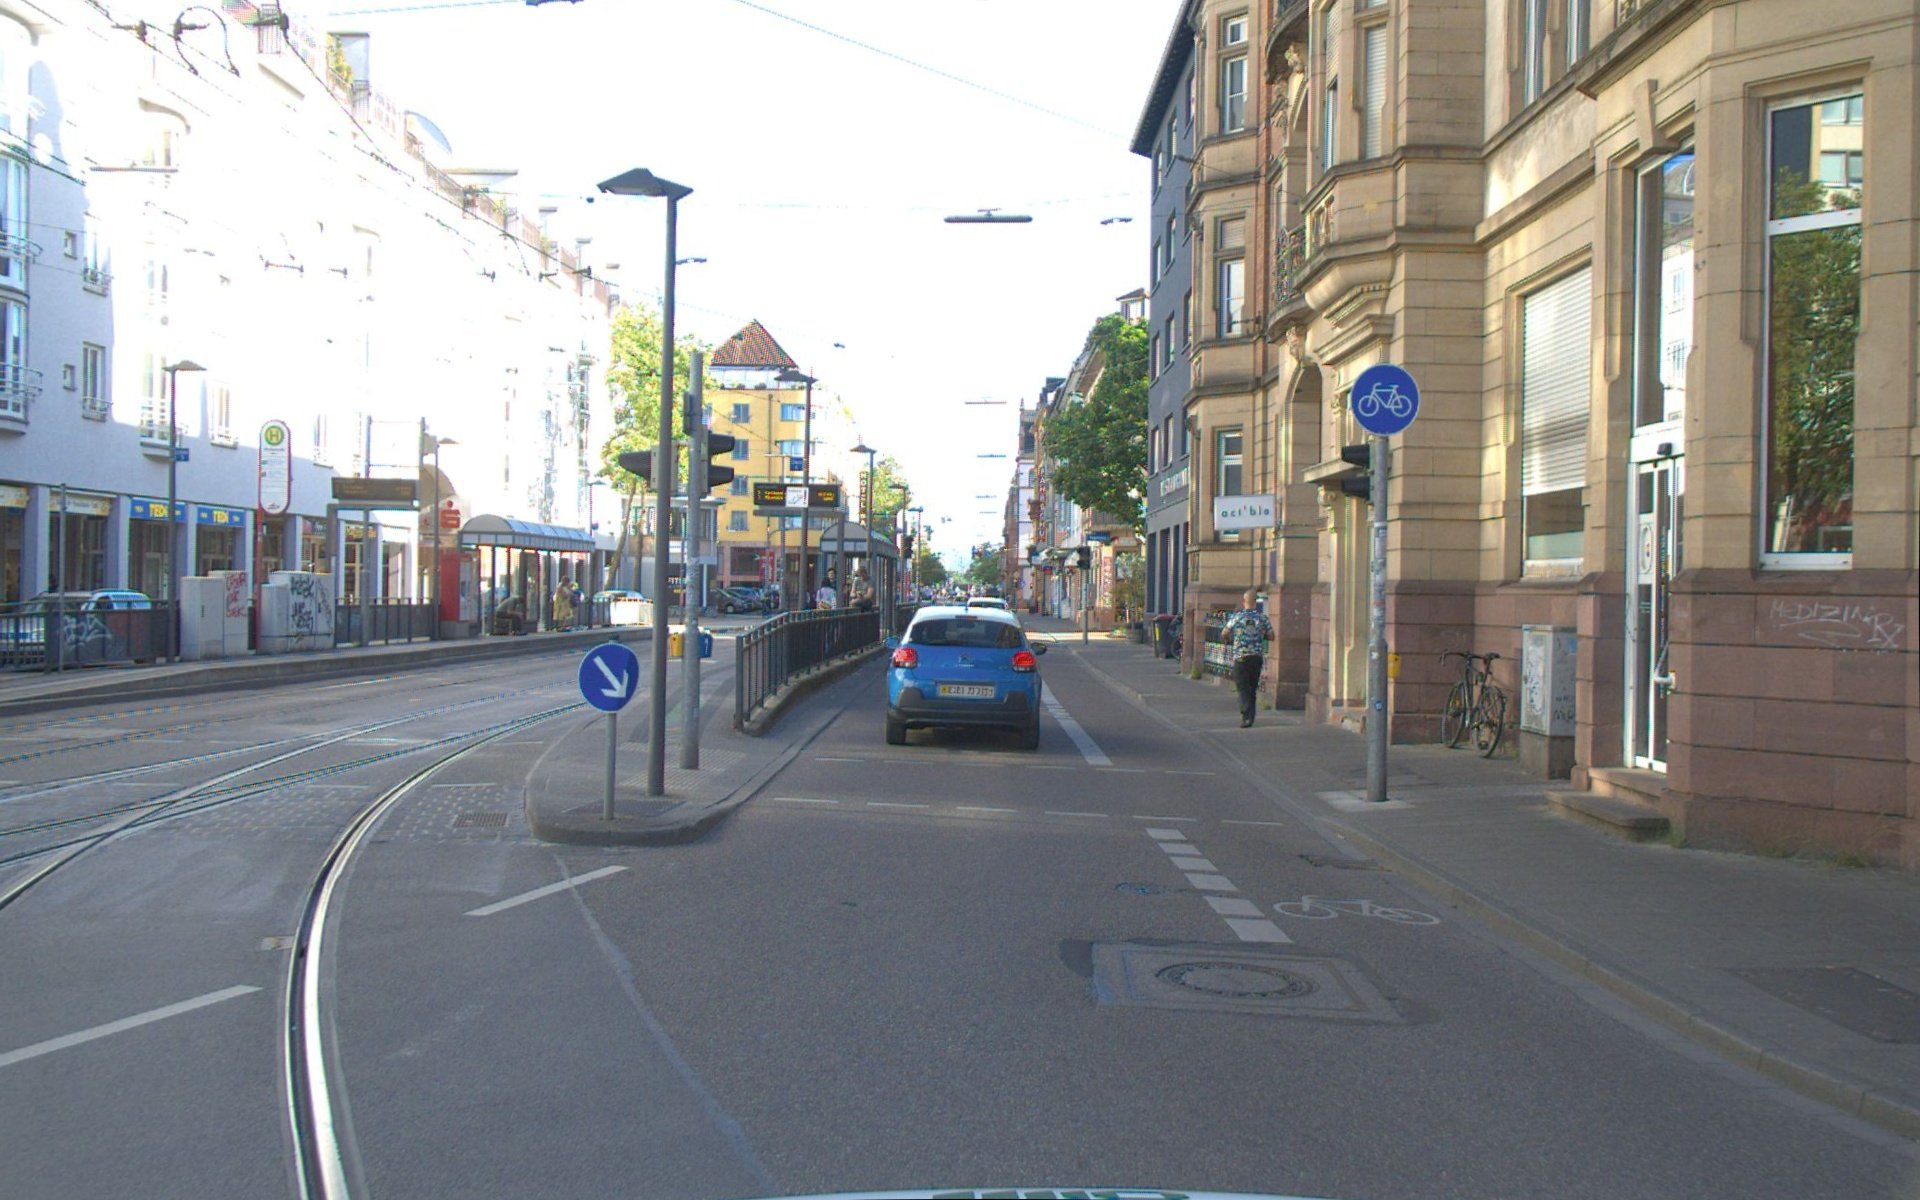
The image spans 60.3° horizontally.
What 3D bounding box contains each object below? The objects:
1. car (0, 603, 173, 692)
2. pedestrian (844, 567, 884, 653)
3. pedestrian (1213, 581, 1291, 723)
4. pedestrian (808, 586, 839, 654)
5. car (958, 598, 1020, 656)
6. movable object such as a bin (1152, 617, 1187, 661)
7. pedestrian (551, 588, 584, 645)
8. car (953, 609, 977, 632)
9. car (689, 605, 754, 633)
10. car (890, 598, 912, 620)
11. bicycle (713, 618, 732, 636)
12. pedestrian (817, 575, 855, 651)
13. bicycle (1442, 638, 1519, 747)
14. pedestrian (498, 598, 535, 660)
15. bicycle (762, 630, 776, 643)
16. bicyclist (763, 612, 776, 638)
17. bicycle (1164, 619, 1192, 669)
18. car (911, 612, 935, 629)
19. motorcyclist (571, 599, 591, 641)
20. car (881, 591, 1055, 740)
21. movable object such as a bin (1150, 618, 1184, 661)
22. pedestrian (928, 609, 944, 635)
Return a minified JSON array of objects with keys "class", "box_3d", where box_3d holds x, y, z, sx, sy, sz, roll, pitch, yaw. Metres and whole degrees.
[{"class":"car","box_3d":[-16.677,0.887,31.049,1.693,1.541,4.403,0,-2,0]},{"class":"pedestrian","box_3d":[-2.004,0.218,34.605,0.623,1.728,0.934,1,-3,8]},{"class":"pedestrian","box_3d":[3.757,0.651,21.367,0.764,1.780,1.093,1,0,-2]},{"class":"pedestrian","box_3d":[-3.227,0.473,39.129,0.575,1.589,0.468,-1,-2,36]},{"class":"car","box_3d":[0.969,0.930,55.221,1.952,1.773,3.999,2,-3,1]},{"class":"movable object such as a bin","box_3d":[5.271,0.990,41.635,0.733,1.054,0.753,-3,-2,1]},{"class":"pedestrian","box_3d":[-11.021,0.462,46.435,0.716,1.586,0.743,1,-1,-1]},{"class":"car","box_3d":[0.448,1.806,144.517,1.952,1.773,3.999,2,-3,1]},{"class":"car","box_3d":[-15.269,1.239,106.063,3.907,1.704,1.956,1,-1,-3]},{"class":"car","box_3d":[-4.780,0.748,134.528,1.717,1.644,4.825,-1,-2,-2]},{"class":"bicycle","box_3d":[-14.037,1.616,97.764,0.665,1.020,2.686,1,-1,2]},{"class":"pedestrian","box_3d":[-2.970,0.320,39.608,0.705,1.809,0.563,-1,-2,36]},{"class":"bicycle","box_3d":[5.397,0.954,17.208,0.250,1.071,1.768,2,-3,1]},{"class":"pedestrian","box_3d":[-11.346,0.738,42.332,0.716,1.554,0.743,1,-1,-1]},{"class":"bicycle","box_3d":[-11.493,2.218,99.720,0.554,0.771,1.937,1,-1,2]},{"class":"bicyclist","box_3d":[-11.470,1.514,99.808,0.658,1.584,0.778,1,-2,2]},{"class":"bicycle","box_3d":[5.108,1.038,38.811,0.450,1.143,1.773,-1,-2,1]},{"class":"car","box_3d":[-3.380,1.874,151.679,1.910,1.512,4.001,-1,-1,3]},{"class":"motorcyclist","box_3d":[-14.094,0.738,61.546,0.477,1.529,0.722,2,-3,2]},{"class":"car","box_3d":[0.112,0.726,18.905,1.744,1.476,3.654,2,-1,1]},{"class":"movable object such as a bin","box_3d":[5.292,1.016,42.398,0.733,1.054,0.753,-3,-2,1]},{"class":"pedestrian","box_3d":[-1.563,1.475,109.526,0.828,1.683,0.691,1,-2,-28]}]
